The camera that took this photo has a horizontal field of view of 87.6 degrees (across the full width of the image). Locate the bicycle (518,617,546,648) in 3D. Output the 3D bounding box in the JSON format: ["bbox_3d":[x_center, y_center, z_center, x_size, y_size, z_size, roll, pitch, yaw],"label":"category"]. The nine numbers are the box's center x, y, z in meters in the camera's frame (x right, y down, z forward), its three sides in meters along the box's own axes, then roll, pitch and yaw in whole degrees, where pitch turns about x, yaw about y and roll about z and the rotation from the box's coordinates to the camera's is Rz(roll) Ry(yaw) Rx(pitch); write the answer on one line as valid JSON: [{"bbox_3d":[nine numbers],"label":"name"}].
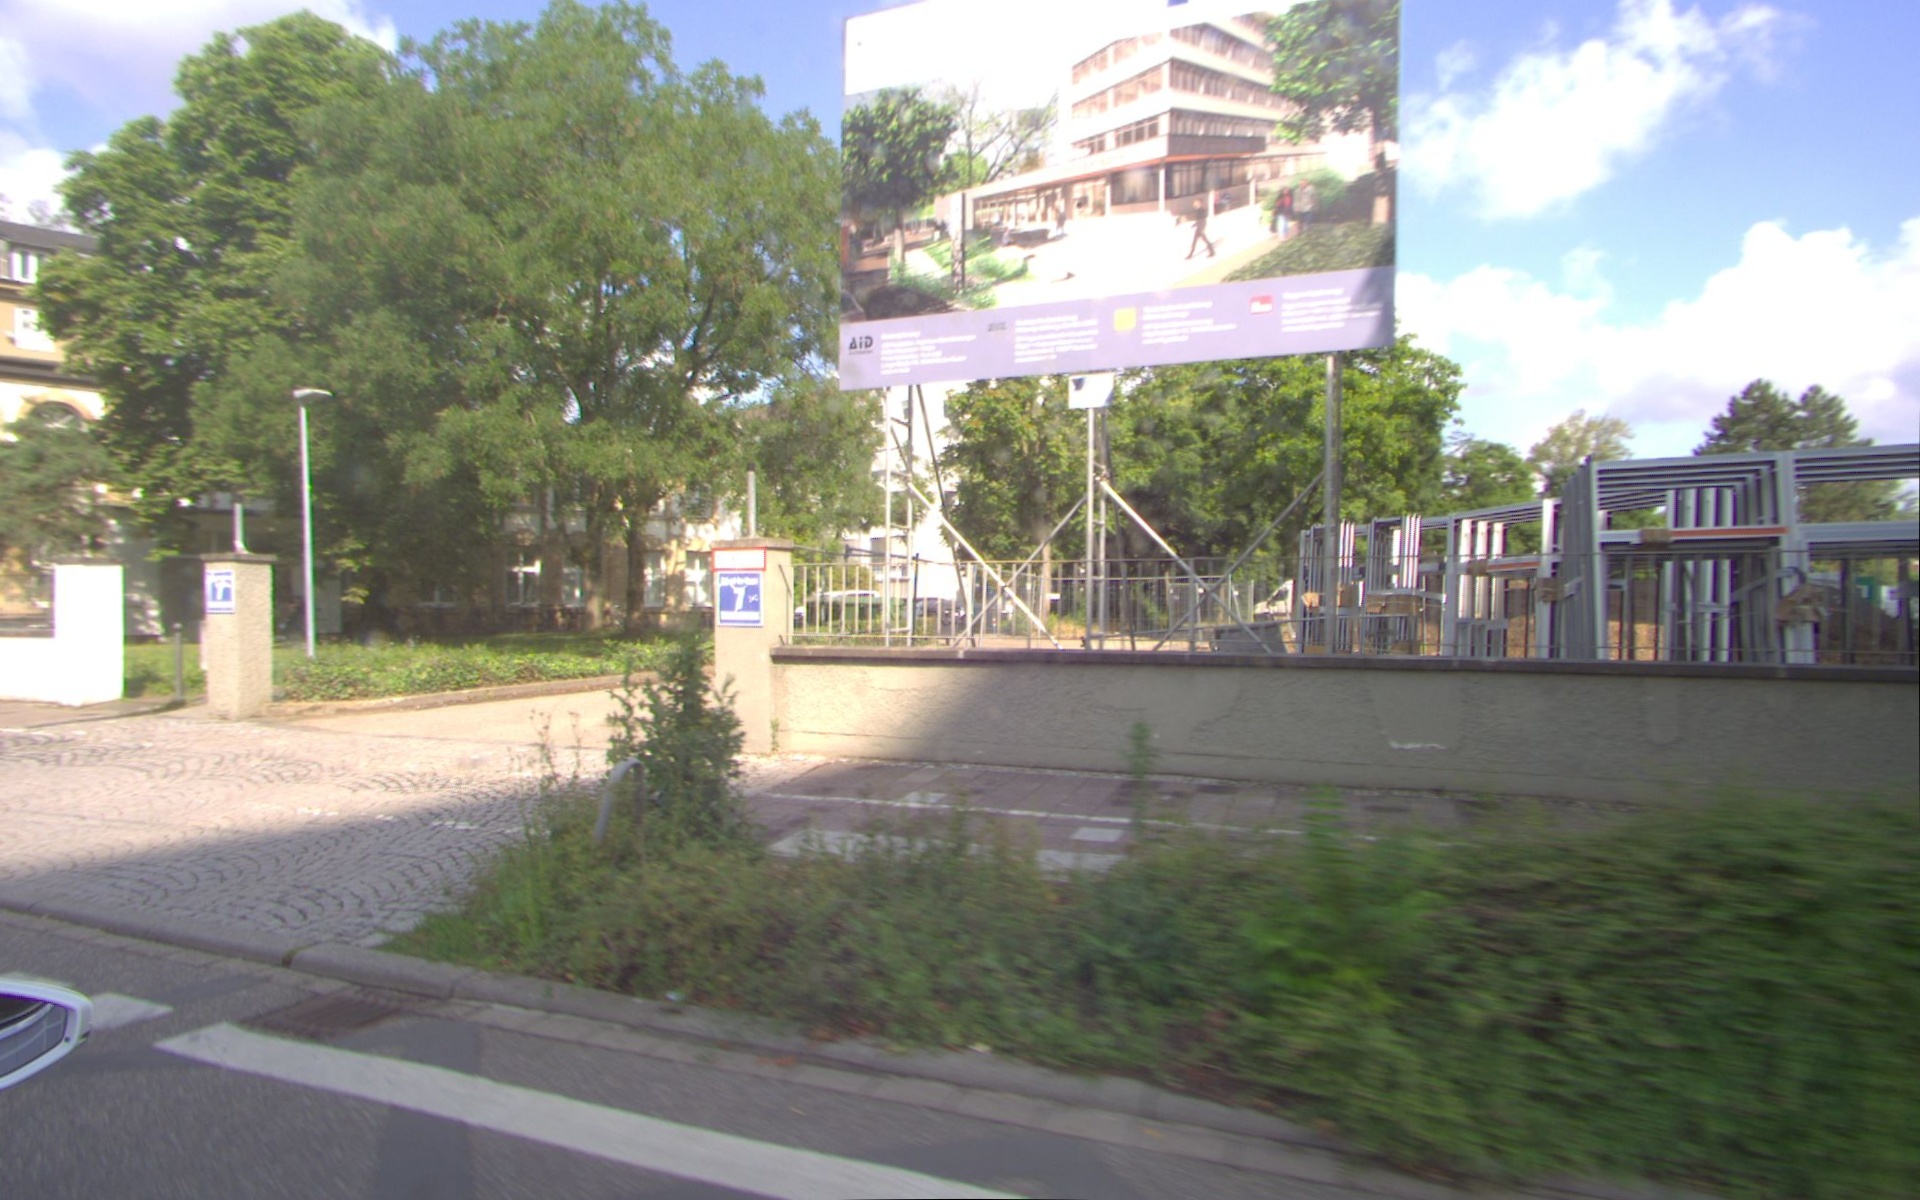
[{"bbox_3d":[-15.211,1.165,35.534,0.414,1.070,2.053,-3,-1,-37],"label":"bicycle"}]

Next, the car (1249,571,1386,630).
[{"bbox_3d":[19.812,0.092,55.719,6.879,3.087,1.989,-1,-1,34],"label":"car"}]

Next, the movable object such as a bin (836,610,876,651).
[{"bbox_3d":[-3.754,1.111,36.062,1.221,1.469,0.873,-2,-3,43],"label":"movable object such as a bin"}]

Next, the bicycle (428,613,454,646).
[{"bbox_3d":[-17.487,1.000,33.730,0.414,1.070,2.053,-3,-1,-37],"label":"bicycle"}]

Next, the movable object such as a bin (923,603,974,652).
[{"bbox_3d":[-0.372,0.869,31.753,1.229,1.501,1.292,2,0,-21],"label":"movable object such as a bin"}]

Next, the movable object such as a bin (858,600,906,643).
[{"bbox_3d":[-2.738,0.769,35.252,1.329,1.469,1.094,-2,-3,43],"label":"movable object such as a bin"}]

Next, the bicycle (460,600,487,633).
[{"bbox_3d":[-16.803,0.593,34.588,0.414,1.070,2.052,-3,-1,-37],"label":"bicycle"}]

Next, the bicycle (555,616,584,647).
[{"bbox_3d":[-14.231,1.165,36.432,0.414,1.070,2.053,-3,-1,-37],"label":"bicycle"}]

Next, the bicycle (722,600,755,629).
[{"bbox_3d":[-8.842,0.599,39.951,0.415,1.070,2.052,-3,-1,-37],"label":"bicycle"}]

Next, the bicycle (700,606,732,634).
[{"bbox_3d":[-9.806,0.819,40.161,0.414,1.070,2.052,-3,-1,-37],"label":"bicycle"}]

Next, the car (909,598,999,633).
[{"bbox_3d":[-0.239,0.695,45.049,3.874,1.438,1.744,-1,-2,-42],"label":"car"}]

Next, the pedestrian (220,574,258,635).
[{"bbox_3d":[-20.785,0.143,28.867,0.765,1.698,0.801,2,-3,-42],"label":"pedestrian"}]

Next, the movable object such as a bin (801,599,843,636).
[{"bbox_3d":[-5.275,0.686,38.356,1.367,1.366,0.939,-2,-3,43],"label":"movable object such as a bin"}]

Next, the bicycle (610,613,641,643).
[{"bbox_3d":[-12.597,1.073,37.682,0.414,1.070,2.052,-3,-1,-37],"label":"bicycle"}]

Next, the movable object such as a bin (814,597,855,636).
[{"bbox_3d":[-4.636,0.630,37.029,1.221,1.366,0.939,-2,-3,43],"label":"movable object such as a bin"}]

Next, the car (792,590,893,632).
[{"bbox_3d":[-6.090,0.590,52.338,4.899,1.988,1.986,0,-4,-40],"label":"car"}]
